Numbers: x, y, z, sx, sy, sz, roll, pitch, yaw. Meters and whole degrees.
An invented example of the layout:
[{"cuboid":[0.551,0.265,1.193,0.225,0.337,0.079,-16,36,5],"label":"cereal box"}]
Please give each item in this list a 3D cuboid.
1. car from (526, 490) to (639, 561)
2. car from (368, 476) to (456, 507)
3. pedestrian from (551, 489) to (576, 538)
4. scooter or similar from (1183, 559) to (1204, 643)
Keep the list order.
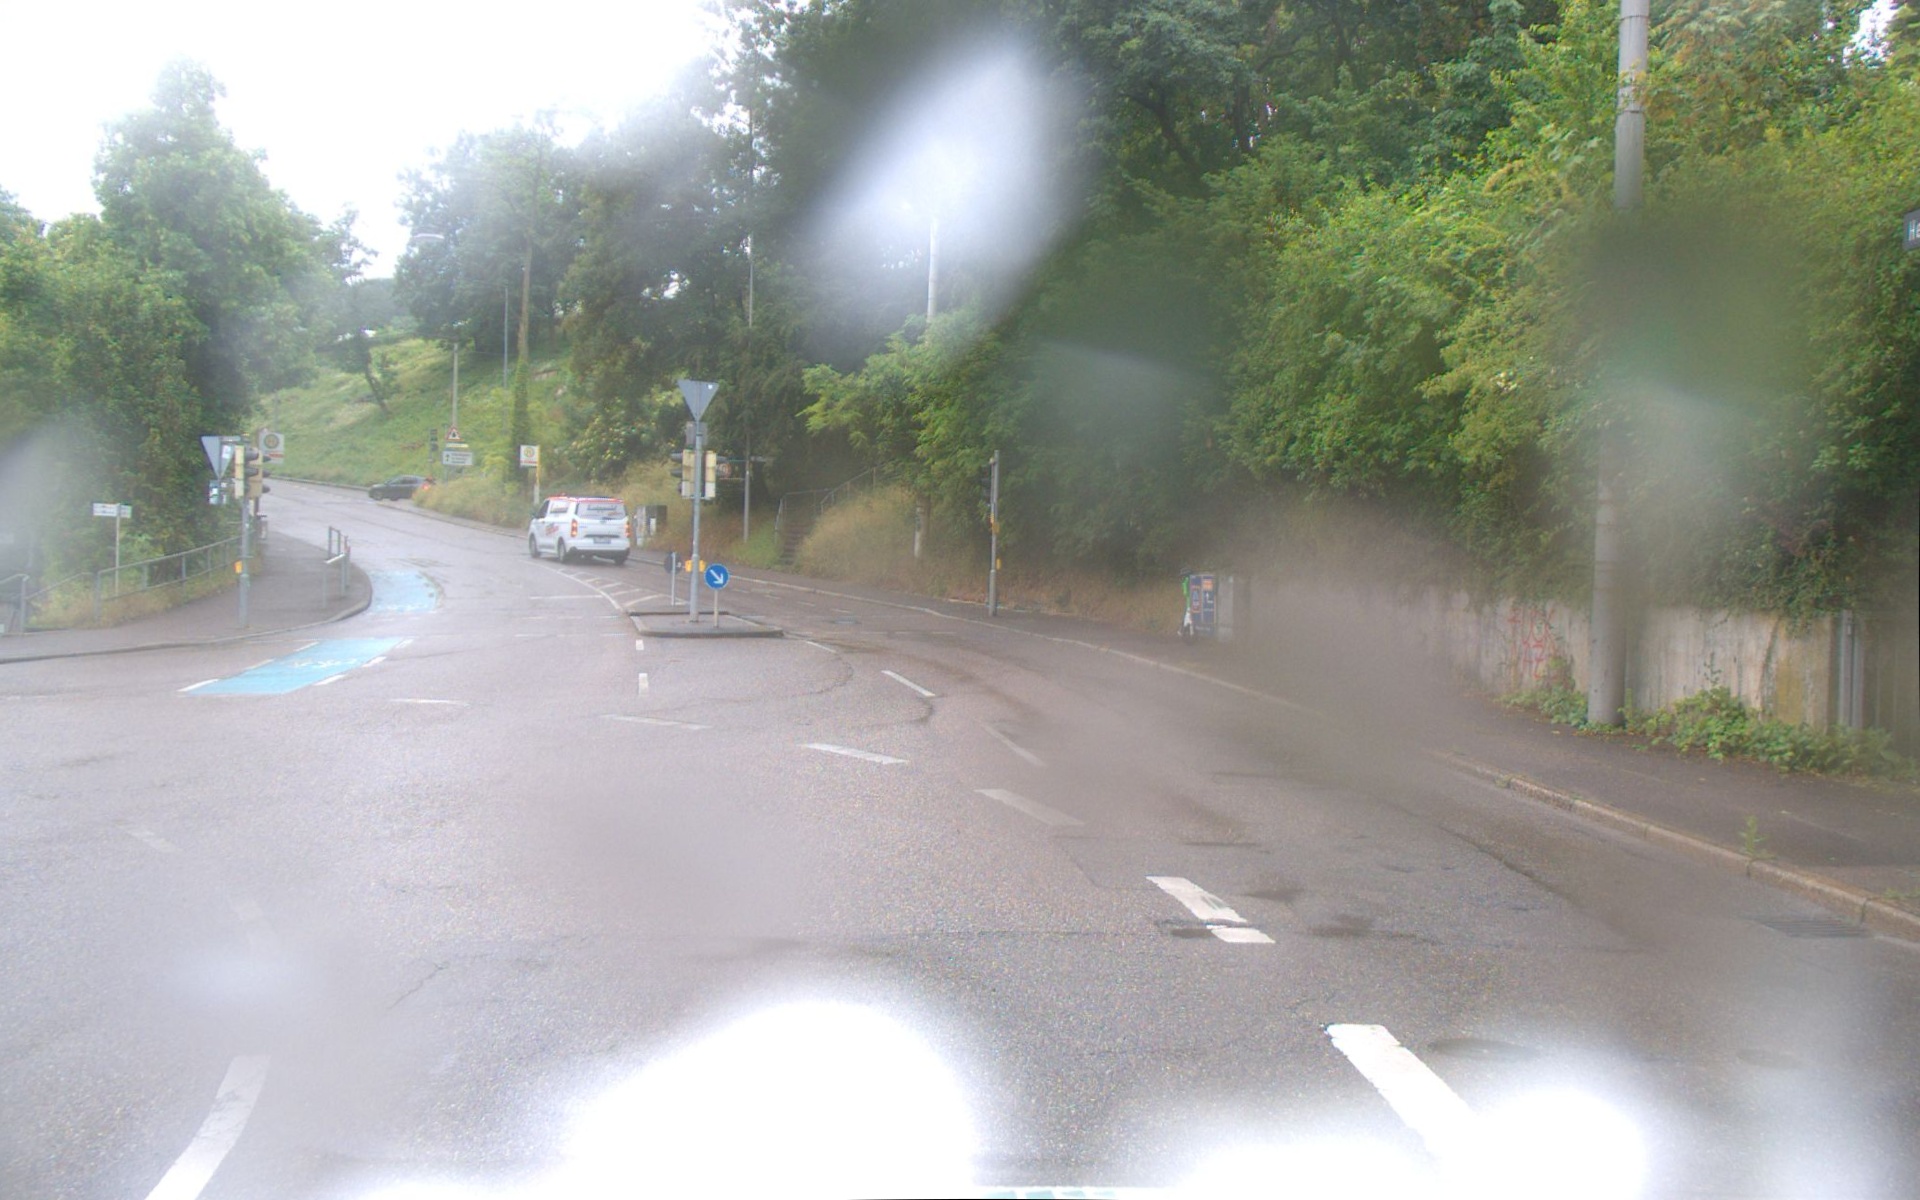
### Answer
[{"cuboid":[-11.690,-2.267,50.953,2.045,2.041,4.765,0,1,-31],"label":"car"},{"cuboid":[-30.884,-6.114,93.317,4.297,1.538,1.965,3,3,13],"label":"car"},{"cuboid":[-14.995,-3.266,62.551,0.867,1.767,0.861,1,-1,-18],"label":"pedestrian"},{"cuboid":[3.747,0.009,26.585,0.315,1.302,0.752,0,3,7],"label":"scooter or similar"}]
